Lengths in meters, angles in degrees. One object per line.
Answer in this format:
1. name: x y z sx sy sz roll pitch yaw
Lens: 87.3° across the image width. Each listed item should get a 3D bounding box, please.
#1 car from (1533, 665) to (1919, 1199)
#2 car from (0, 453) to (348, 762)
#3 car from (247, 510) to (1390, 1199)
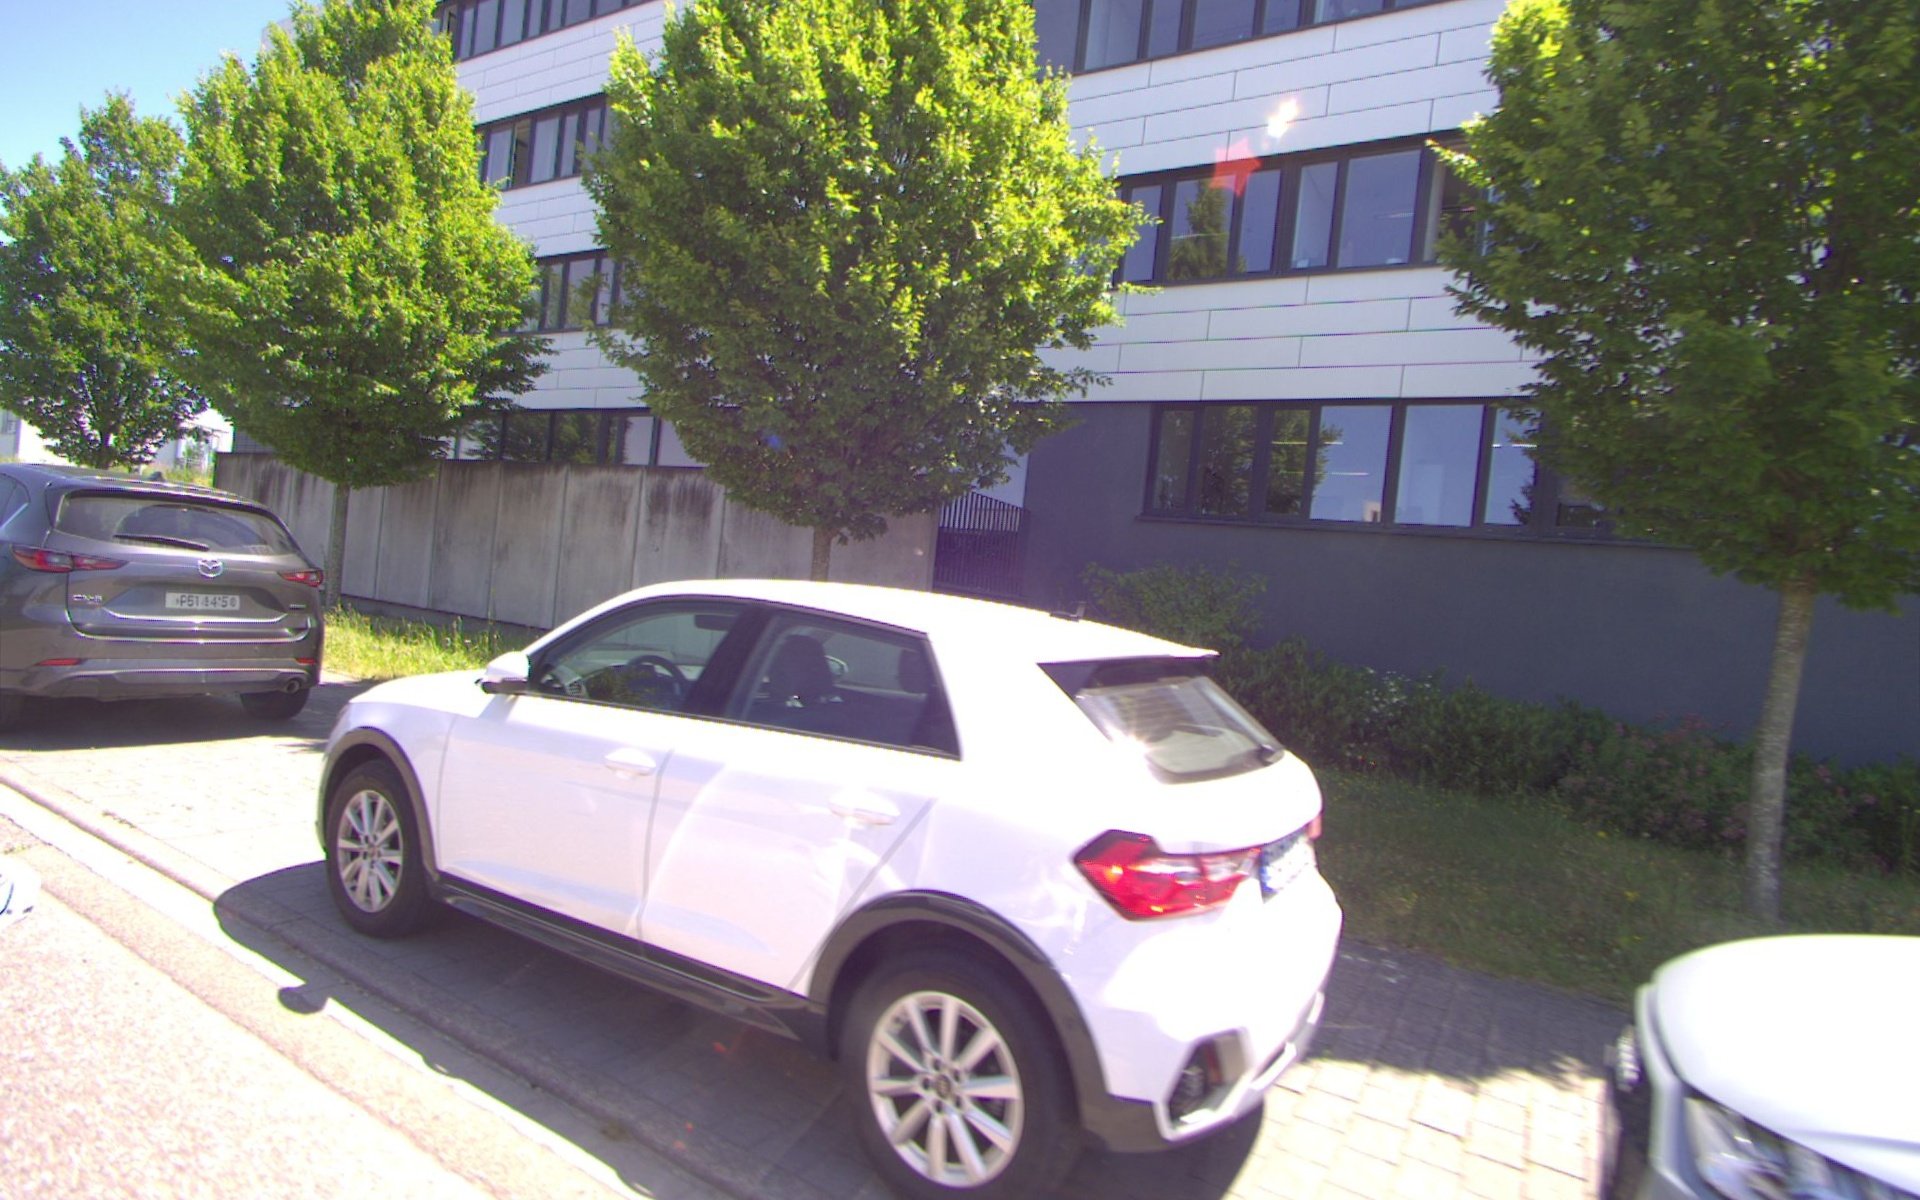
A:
1. car: 3.043 1.072 1.316 3.886 1.442 1.716 7 2 32
2. car: -6.555 -0.116 7.351 4.291 1.684 1.758 7 2 32
3. car: -0.736 0.599 3.747 3.965 1.501 1.716 7 2 32
